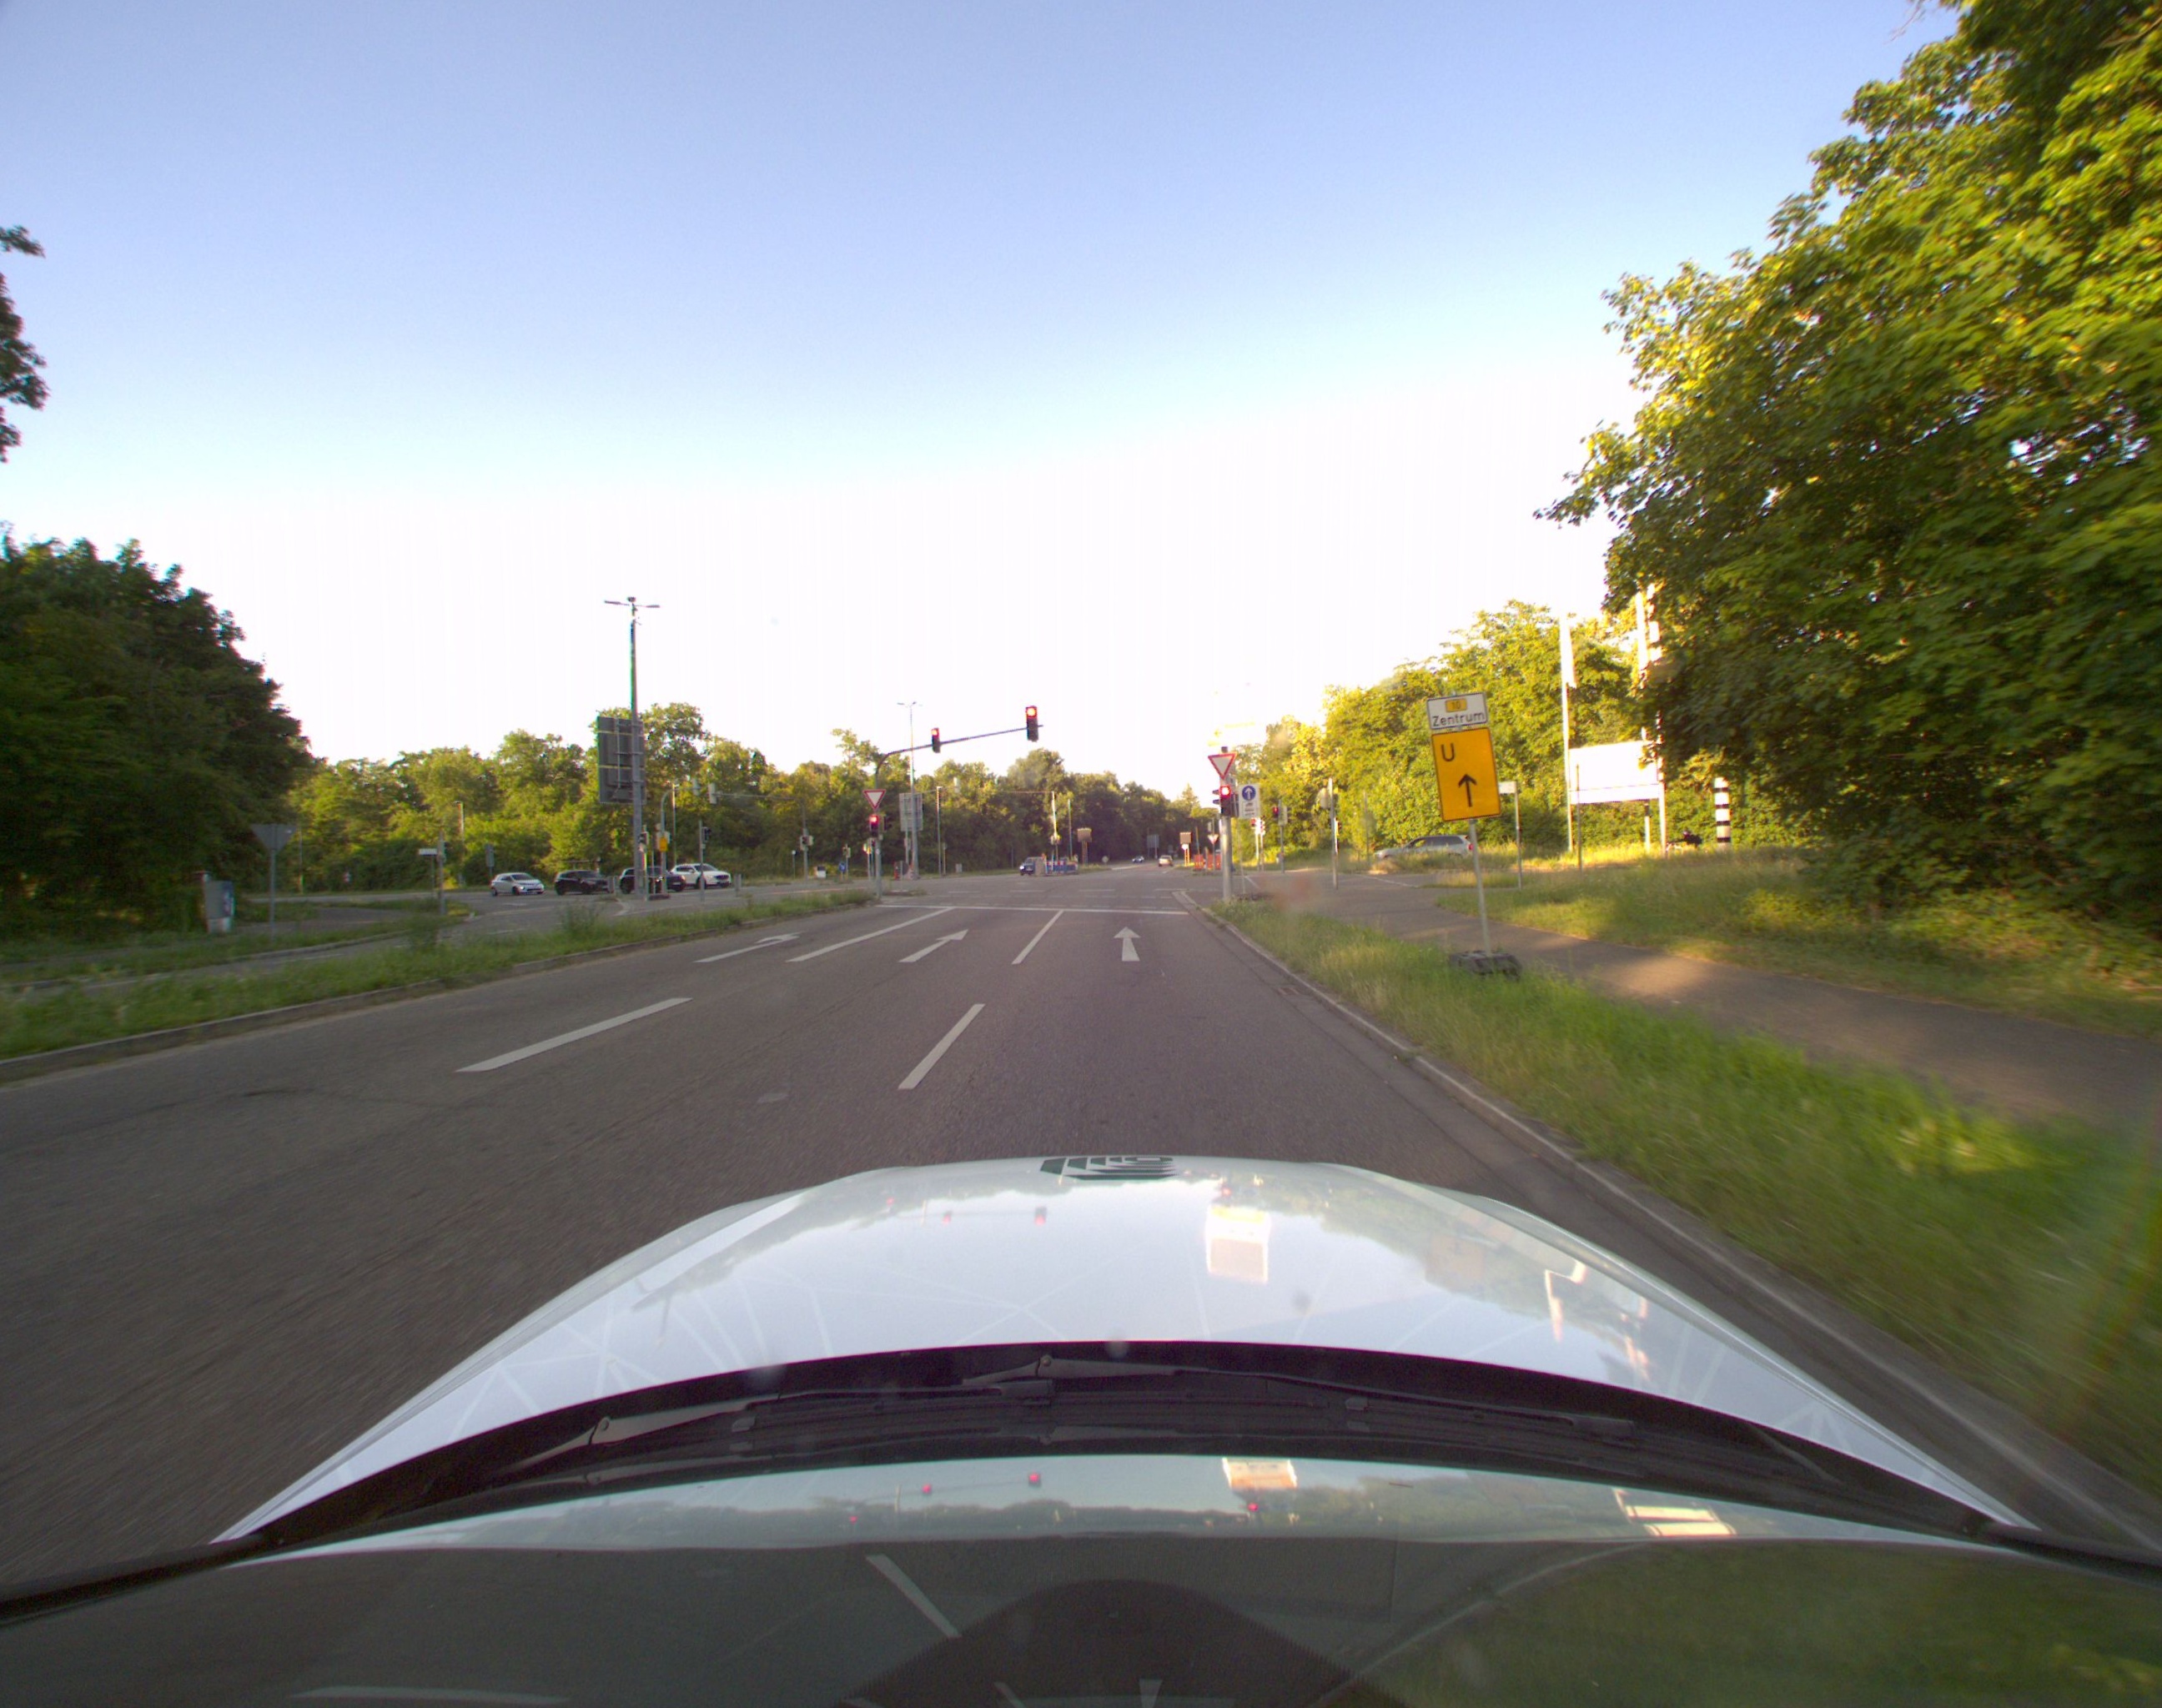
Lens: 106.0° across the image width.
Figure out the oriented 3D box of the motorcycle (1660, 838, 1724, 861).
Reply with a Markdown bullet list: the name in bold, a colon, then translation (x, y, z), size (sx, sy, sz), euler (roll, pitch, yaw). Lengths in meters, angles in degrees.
- **motorcycle**: translation (26.616, -0.185, 35.511), size (2.124, 0.910, 0.666), euler (-2, 0, 25)

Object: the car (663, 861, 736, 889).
- **car**: translation (-24.734, 1.338, 52.779), size (4.205, 1.640, 2.012), euler (-2, 0, 25)

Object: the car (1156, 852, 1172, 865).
- **car**: translation (11.222, 0.618, 109.540), size (1.983, 1.618, 4.008), euler (-2, 0, 7)

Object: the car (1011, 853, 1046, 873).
- **car**: translation (-4.233, 0.694, 66.416), size (1.983, 1.530, 4.687), euler (-2, 0, 7)

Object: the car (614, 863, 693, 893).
- **car**: translation (-25.661, 1.427, 48.867), size (4.205, 1.640, 2.012), euler (-2, 0, 25)

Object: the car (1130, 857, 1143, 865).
- **car**: translation (11.910, 1.478, 173.422), size (1.978, 1.420, 4.017), euler (-2, 0, 16)

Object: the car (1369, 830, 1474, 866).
- **car**: translation (17.353, -0.310, 41.496), size (4.771, 1.598, 2.012), euler (-2, 0, 25)

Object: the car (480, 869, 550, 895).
- **car**: translation (-39.112, 1.911, 56.259), size (4.206, 1.640, 2.011), euler (-2, 0, 23)

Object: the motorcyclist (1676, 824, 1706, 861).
- **motorcyclist**: translation (26.597, -0.491, 35.526), size (0.878, 1.595, 0.659), euler (-2, 0, 25)

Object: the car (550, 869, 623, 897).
- **car**: translation (-31.905, 1.868, 52.565), size (4.204, 1.640, 2.012), euler (-2, 0, 25)
